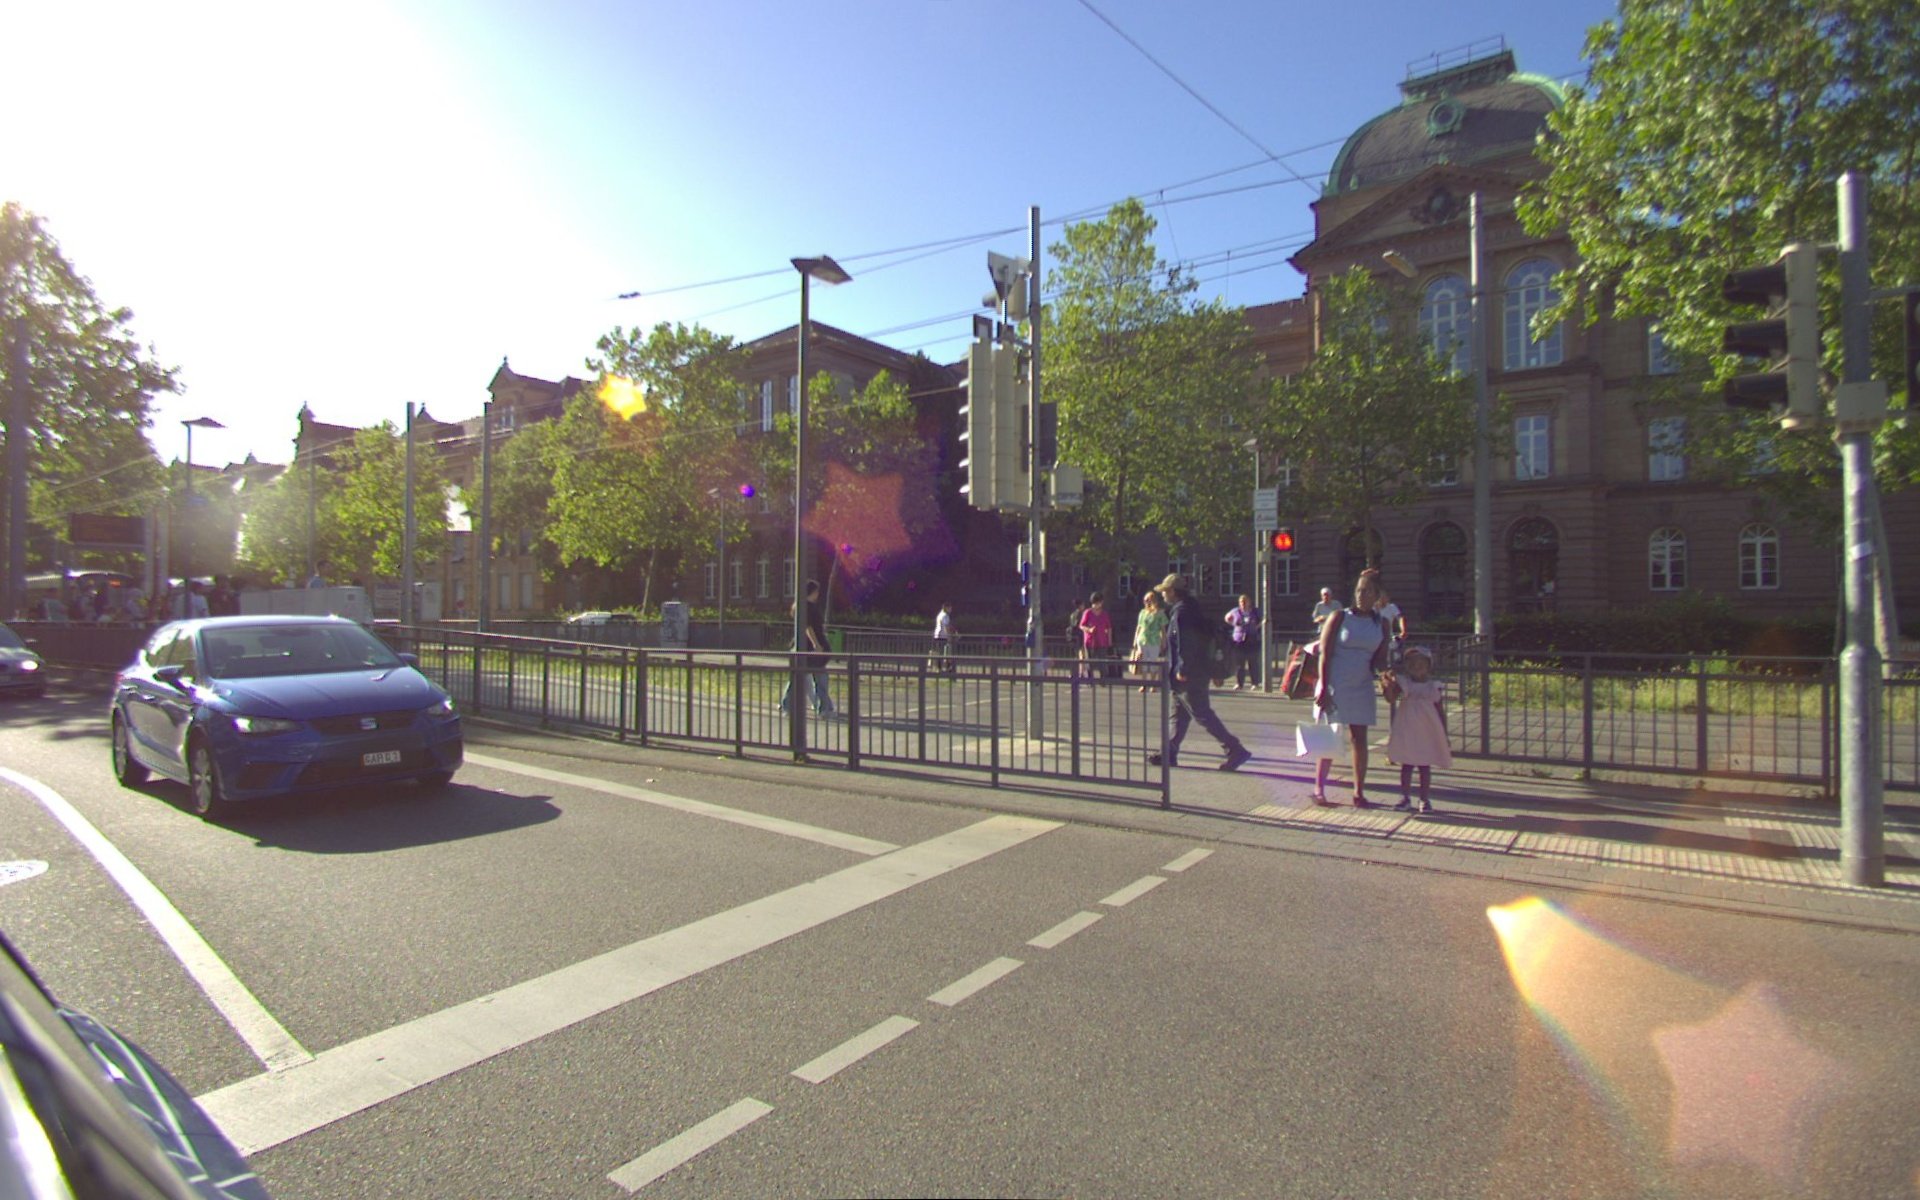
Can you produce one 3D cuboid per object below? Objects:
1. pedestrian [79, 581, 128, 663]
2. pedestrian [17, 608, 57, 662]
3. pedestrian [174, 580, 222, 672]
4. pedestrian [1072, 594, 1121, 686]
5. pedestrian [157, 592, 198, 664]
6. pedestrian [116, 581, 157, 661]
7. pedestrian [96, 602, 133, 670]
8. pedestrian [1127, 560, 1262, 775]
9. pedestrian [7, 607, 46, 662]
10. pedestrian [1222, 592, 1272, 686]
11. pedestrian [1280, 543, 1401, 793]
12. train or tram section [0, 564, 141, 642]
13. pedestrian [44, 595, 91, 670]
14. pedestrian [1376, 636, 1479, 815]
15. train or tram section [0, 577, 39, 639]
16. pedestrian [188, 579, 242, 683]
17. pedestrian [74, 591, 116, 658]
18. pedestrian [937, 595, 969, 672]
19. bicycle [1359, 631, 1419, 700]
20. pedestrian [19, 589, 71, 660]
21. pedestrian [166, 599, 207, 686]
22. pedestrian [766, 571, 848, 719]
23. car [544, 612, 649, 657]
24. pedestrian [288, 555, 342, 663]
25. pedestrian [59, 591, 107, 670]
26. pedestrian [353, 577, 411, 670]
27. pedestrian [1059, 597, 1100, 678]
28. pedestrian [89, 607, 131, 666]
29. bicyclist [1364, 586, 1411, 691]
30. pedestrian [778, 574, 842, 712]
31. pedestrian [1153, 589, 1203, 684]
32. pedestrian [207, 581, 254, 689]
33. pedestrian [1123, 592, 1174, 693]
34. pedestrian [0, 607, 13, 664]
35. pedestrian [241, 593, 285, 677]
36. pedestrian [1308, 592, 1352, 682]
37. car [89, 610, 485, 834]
[{"bbox_3d":[-18.350,0.473,21.697,0.570,1.709,0.654,-1,-3,37],"label":"pedestrian"},{"bbox_3d":[-21.995,0.827,24.120,0.603,1.256,0.529,-1,-3,34],"label":"pedestrian"},{"bbox_3d":[-14.439,0.494,19.175,0.609,1.715,0.501,-1,-2,32],"label":"pedestrian"},{"bbox_3d":[2.521,0.730,18.674,0.707,1.662,0.626,-1,-2,32],"label":"pedestrian"},{"bbox_3d":[-16.807,0.599,21.736,0.530,1.530,0.540,-1,-3,36],"label":"pedestrian"},{"bbox_3d":[-18.231,0.469,22.407,0.620,1.721,0.510,-1,-3,36],"label":"pedestrian"},{"bbox_3d":[-16.824,0.709,20.142,0.506,1.326,0.412,-1,-2,34],"label":"pedestrian"},{"bbox_3d":[1.904,0.521,8.194,0.939,1.641,0.623,-1,-1,26],"label":"pedestrian"},{"bbox_3d":[-22.792,0.848,24.707,0.602,1.309,0.529,-1,-3,33],"label":"pedestrian"},{"bbox_3d":[5.003,0.679,17.635,0.702,1.594,0.613,-1,-2,32],"label":"pedestrian"},{"bbox_3d":[2.560,0.435,6.801,0.645,1.569,0.626,-1,-2,32],"label":"pedestrian"},{"bbox_3d":[-46.027,0.289,51.101,18.179,3.460,2.823,-1,-1,37],"label":"train or tram section"},{"bbox_3d":[-20.083,0.731,22.768,0.570,1.646,0.654,-1,-3,37],"label":"pedestrian"},{"bbox_3d":[3.042,0.776,6.577,0.528,1.082,0.626,-1,-2,31],"label":"pedestrian"},{"bbox_3d":[-60.602,0.608,61.895,18.241,3.460,2.845,-1,-1,37],"label":"train or tram section"},{"bbox_3d":[-12.764,0.531,17.348,0.538,1.747,0.543,-1,-2,32],"label":"pedestrian"},{"bbox_3d":[-22.031,0.623,25.771,0.621,1.662,0.614,-1,-2,32],"label":"pedestrian"},{"bbox_3d":[-0.165,0.770,23.446,0.544,1.741,0.519,-1,-2,40],"label":"pedestrian"},{"bbox_3d":[6.911,1.019,16.258,0.831,0.994,1.657,-1,-1,25],"label":"bicycle"},{"bbox_3d":[-23.335,0.629,25.801,0.721,1.766,0.769,-1,-3,32],"label":"pedestrian"},{"bbox_3d":[-15.592,0.847,20.413,0.498,1.715,0.613,1,-2,-26],"label":"pedestrian"},{"bbox_3d":[-1.837,0.530,12.162,0.745,1.715,0.627,-1,-2,32],"label":"pedestrian"},{"bbox_3d":[-14.653,1.341,40.733,4.221,1.674,1.976,0,1,36],"label":"car"},{"bbox_3d":[-10.627,0.153,16.680,0.538,1.747,0.543,-1,-2,32],"label":"pedestrian"},{"bbox_3d":[-19.240,0.672,22.202,0.570,1.709,0.654,-1,-3,37],"label":"pedestrian"},{"bbox_3d":[-10.492,0.422,18.375,0.639,1.631,0.635,2,-1,32],"label":"pedestrian"},{"bbox_3d":[2.515,0.778,21.345,0.622,1.677,0.712,1,-2,-14],"label":"pedestrian"},{"bbox_3d":[-17.655,0.750,21.019,0.530,1.201,0.540,-1,-2,36],"label":"pedestrian"},{"bbox_3d":[6.869,0.603,16.239,0.656,1.638,0.656,-1,-1,25],"label":"bicyclist"},{"bbox_3d":[-1.914,0.543,12.982,0.544,1.715,0.604,-1,-2,32],"label":"pedestrian"},{"bbox_3d":[4.108,0.680,19.093,0.699,1.756,0.633,2,-2,-44],"label":"pedestrian"},{"bbox_3d":[-12.097,0.577,16.794,0.530,1.747,0.551,1,-2,-29],"label":"pedestrian"},{"bbox_3d":[3.244,0.720,17.408,0.702,1.692,0.613,-1,-2,32],"label":"pedestrian"},{"bbox_3d":[-26.058,0.943,27.148,0.749,1.521,0.769,-1,-3,32],"label":"pedestrian"},{"bbox_3d":[-15.201,0.763,22.074,0.609,1.783,0.549,-1,-2,32],"label":"pedestrian"},{"bbox_3d":[6.710,0.665,18.335,0.705,1.573,0.774,-1,-2,23],"label":"pedestrian"},{"bbox_3d":[-5.715,0.828,8.428,3.871,1.426,1.686,-1,-1,39],"label":"car"}]
